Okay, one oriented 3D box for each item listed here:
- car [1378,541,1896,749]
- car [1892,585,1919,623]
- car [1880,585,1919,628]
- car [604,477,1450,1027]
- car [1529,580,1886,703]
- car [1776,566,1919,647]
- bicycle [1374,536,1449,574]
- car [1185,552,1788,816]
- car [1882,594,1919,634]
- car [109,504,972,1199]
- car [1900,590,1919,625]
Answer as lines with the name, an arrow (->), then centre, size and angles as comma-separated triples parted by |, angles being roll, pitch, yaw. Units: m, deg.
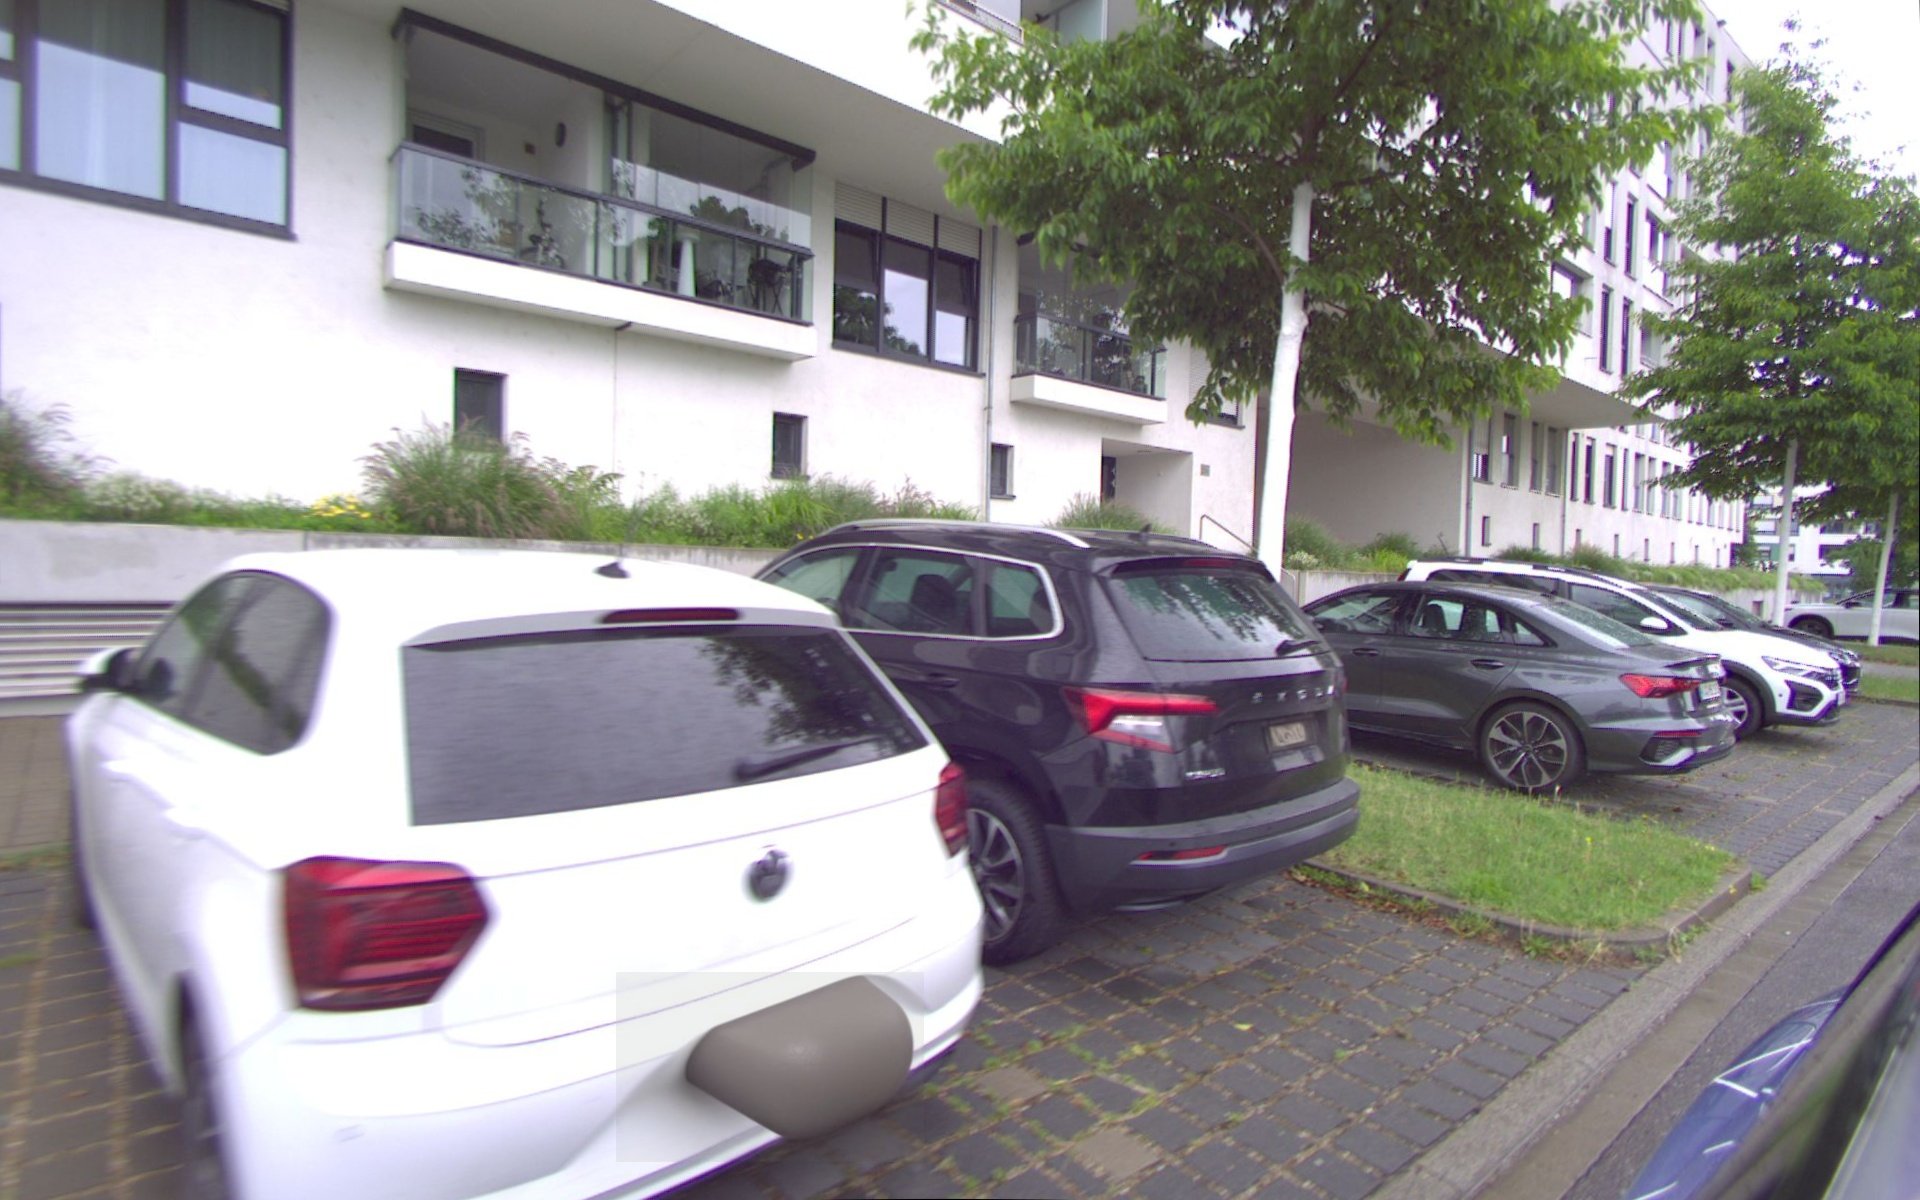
car -> 7.439, 0.327, 11.533 | 1.902, 1.707, 4.486 | 1, 4, -41
car -> 40.418, 0.305, 40.391 | 1.662, 1.499, 4.499 | 0, 4, -40
car -> 38.294, 0.342, 38.949 | 1.606, 1.574, 3.998 | 0, 4, -40
car -> -0.044, 0.327, 5.185 | 1.865, 1.644, 4.169 | 0, 3, -42
car -> 10.961, 0.506, 15.028 | 1.904, 1.514, 3.991 | 1, 1, -43
car -> 23.636, 0.222, 25.418 | 1.854, 1.704, 4.550 | 0, 7, -42
bicycle -> 13.221, -1.296, 29.692 | 0.711, 1.068, 1.898 | 0, 1, -41
car -> 4.008, 0.457, 8.279 | 1.654, 1.528, 3.996 | 1, 3, -40
car -> 36.506, 0.525, 37.036 | 1.565, 1.493, 3.961 | 0, 1, -42
car -> -2.016, 0.436, 3.752 | 1.609, 1.445, 4.307 | 0, 3, -42
car -> 43.845, 0.469, 43.665 | 1.794, 1.515, 4.581 | 0, 4, -41
